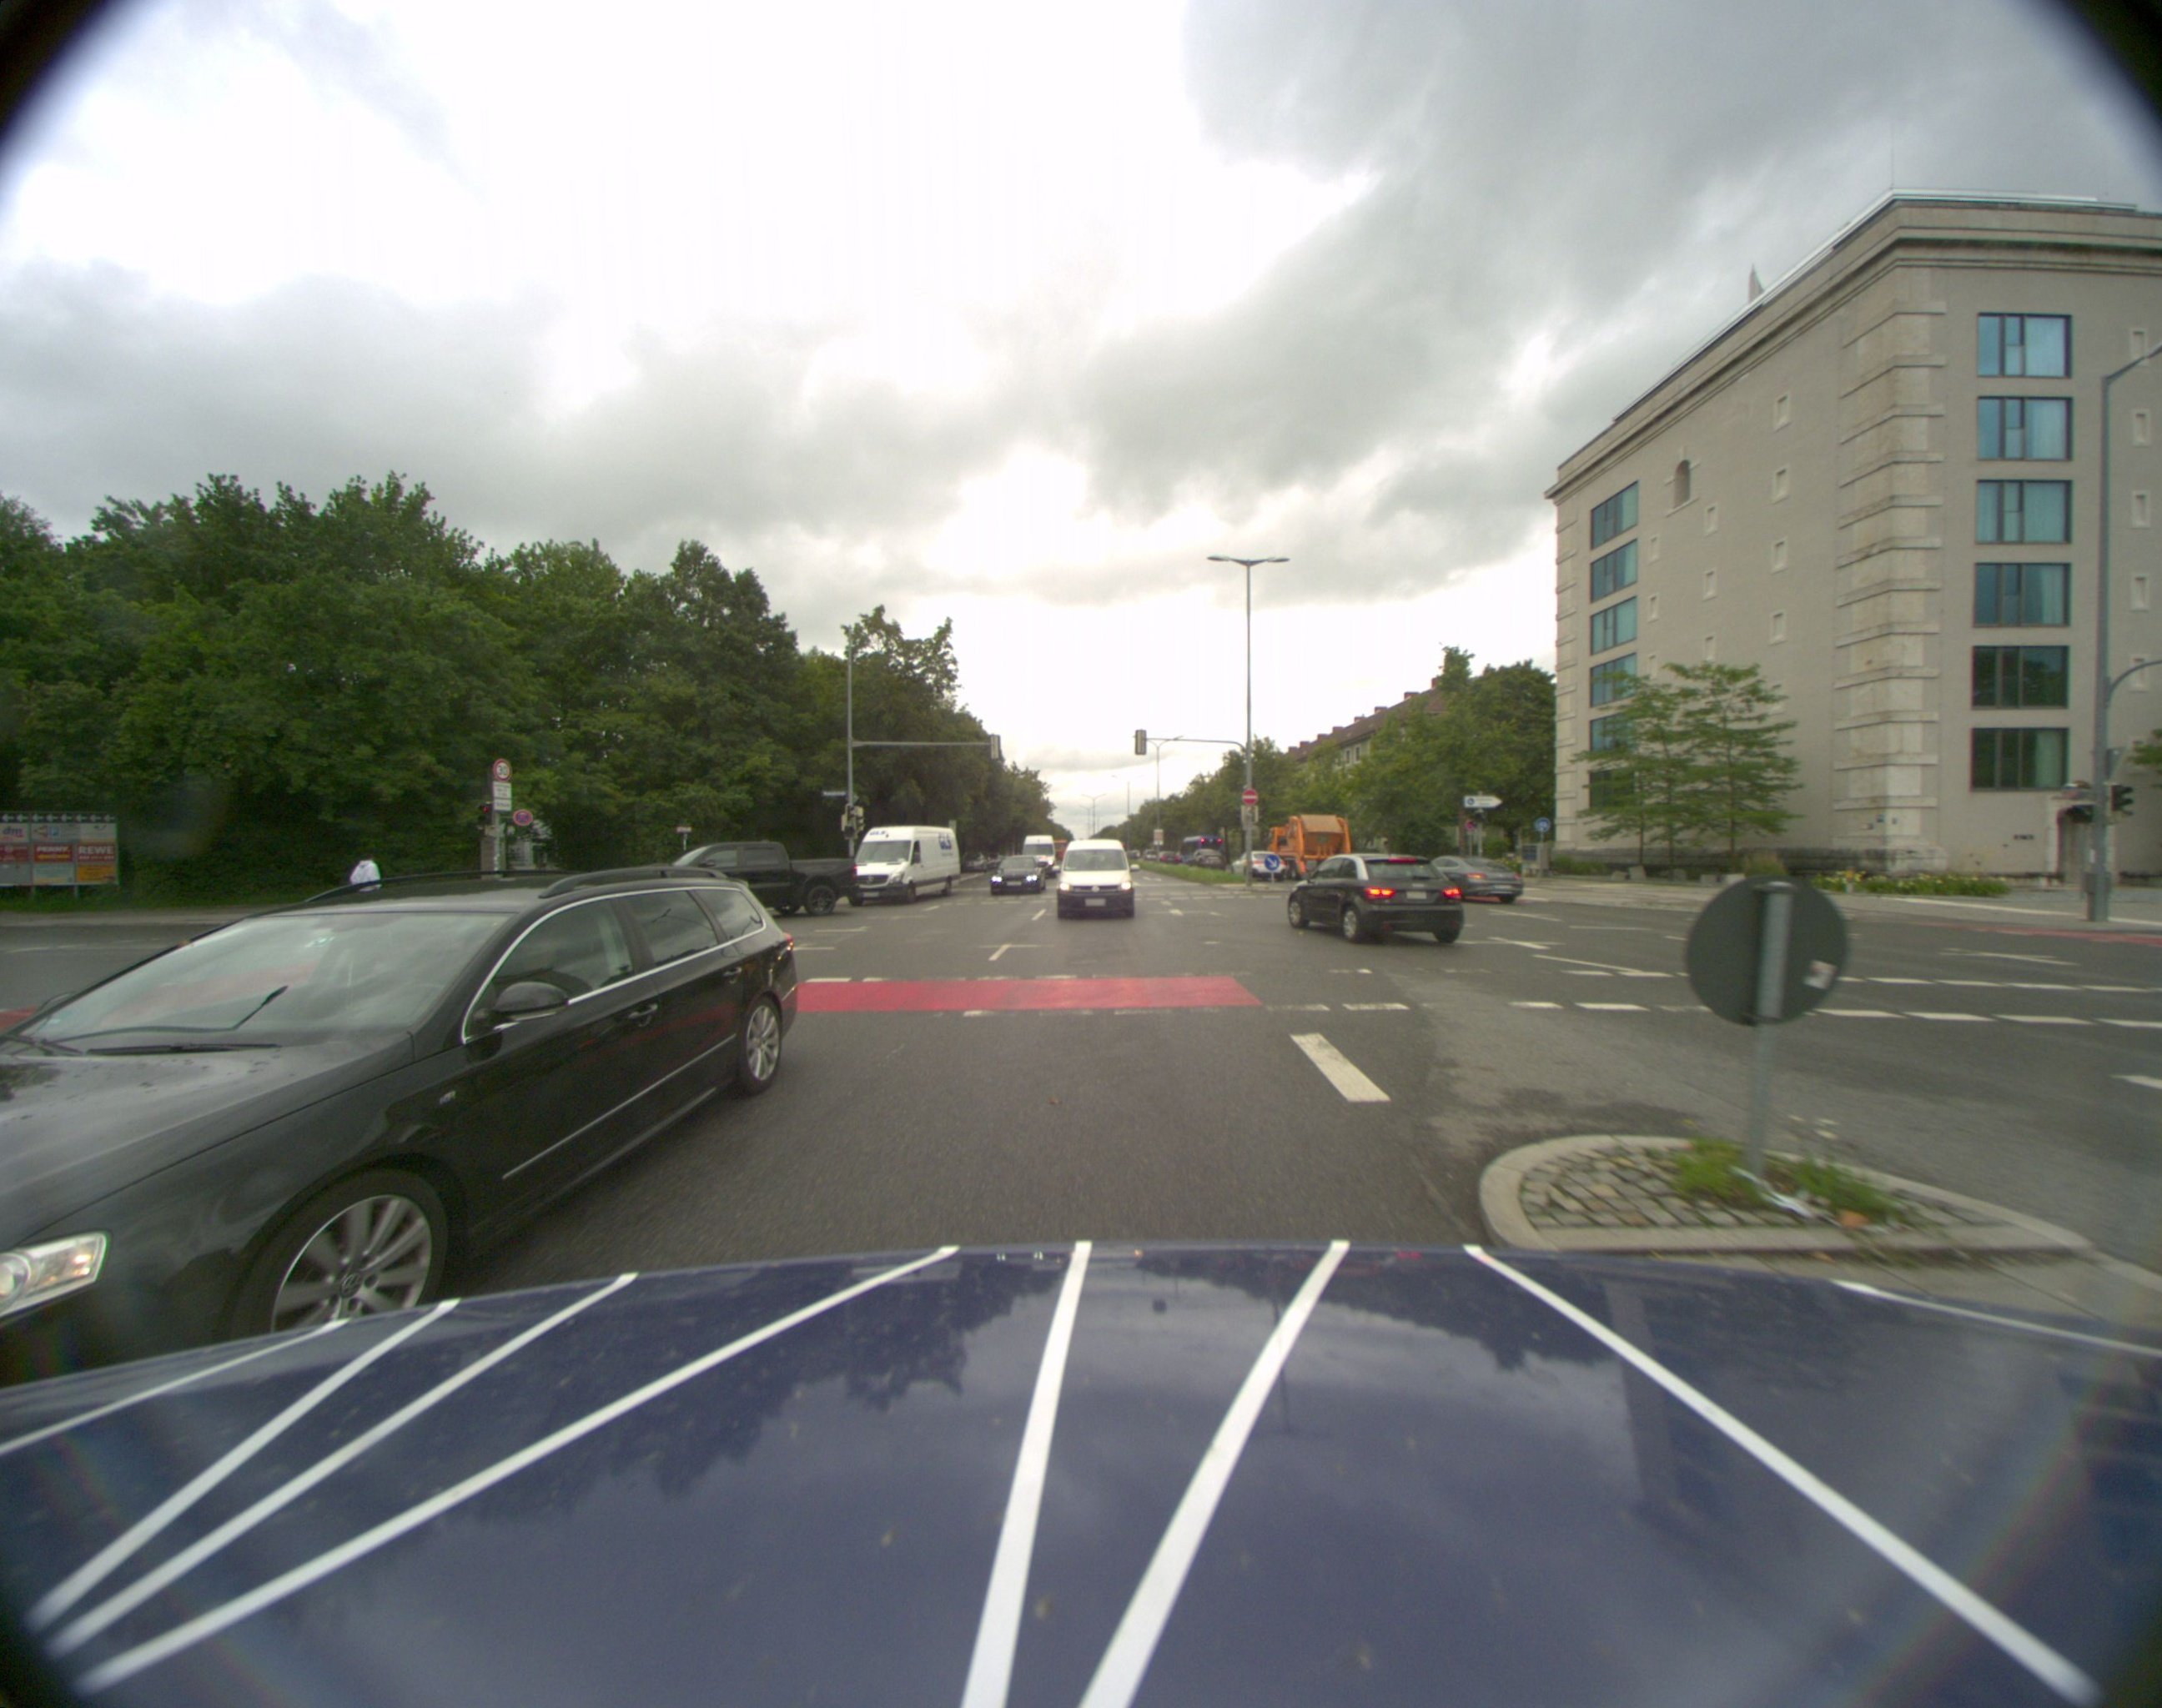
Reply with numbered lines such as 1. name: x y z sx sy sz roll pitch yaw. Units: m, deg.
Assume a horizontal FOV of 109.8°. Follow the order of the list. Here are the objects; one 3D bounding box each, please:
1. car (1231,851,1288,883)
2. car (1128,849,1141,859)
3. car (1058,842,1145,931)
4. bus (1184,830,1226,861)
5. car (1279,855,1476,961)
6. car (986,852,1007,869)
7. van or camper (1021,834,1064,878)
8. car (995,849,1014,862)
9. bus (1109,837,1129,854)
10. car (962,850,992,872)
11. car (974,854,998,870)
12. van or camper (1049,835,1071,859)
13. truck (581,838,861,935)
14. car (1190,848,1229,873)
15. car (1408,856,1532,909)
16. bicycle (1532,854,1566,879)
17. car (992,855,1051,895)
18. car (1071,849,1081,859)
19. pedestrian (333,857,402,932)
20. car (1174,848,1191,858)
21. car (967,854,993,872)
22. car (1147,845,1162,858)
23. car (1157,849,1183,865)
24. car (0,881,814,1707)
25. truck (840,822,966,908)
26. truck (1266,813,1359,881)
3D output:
1. car: 8.847 0.612 38.048 1.732 1.478 4.742 0 1 0
2. car: 8.130 0.017 115.814 1.702 1.561 4.290 0 0 -1
3. car: 0.385 0.640 17.820 1.752 1.809 4.670 -1 1 -1
4. bus: 14.508 -0.972 89.918 2.752 3.324 12.047 1 0 -1
5. car: 4.813 0.788 12.923 1.644 1.478 3.779 0 1 -4
6. car: -8.686 0.613 78.450 1.752 1.640 4.254 -1 1 -1
7. van or camper: -2.296 0.093 47.272 2.183 2.546 7.074 0 0 1
8. car: -8.888 0.175 88.507 1.752 1.459 4.254 -1 0 -1
9. bus: 7.630 -1.651 154.340 2.753 3.324 12.268 1 0 -3
10. car: -8.358 0.547 61.575 1.884 1.640 4.396 -1 1 -1
11. car: -9.010 0.767 72.436 1.752 1.420 4.254 -1 0 -1
12. van or camper: -2.974 -0.992 107.558 2.780 3.219 7.074 0 0 1
13. truck: -8.560 0.644 18.635 2.099 2.002 5.824 0 1 42
14. car: 8.710 0.417 51.966 1.866 1.533 4.749 3 1 1
15. car: 11.825 0.808 23.436 1.727 1.408 4.215 1 1 2
16. bicycle: 23.071 0.605 37.475 0.546 1.174 1.826 -1 1 0
17. car: -2.236 0.757 29.591 1.819 1.421 4.671 0 0 1
18. car: -1.091 -0.041 159.455 1.998 2.002 4.000 0 0 1
19. pedestrian: -16.882 0.933 18.005 0.762 1.693 0.938 -1 1 -9
20. car: 14.528 -0.144 108.875 1.857 1.454 3.909 -2 0 1
21. car: -8.856 0.775 66.899 1.752 1.515 4.396 -1 0 -1
22. car: 11.361 -0.389 117.675 1.784 1.801 4.429 2 0 -1
23. car: 8.796 0.260 75.145 1.931 1.453 4.898 2 0 0
24. car: -2.865 0.971 3.342 1.752 1.466 4.670 -1 0 -1
25. truck: -5.919 0.295 26.569 1.998 2.589 7.229 -1 1 6
26. truck: 12.152 -0.370 40.635 2.787 3.337 7.265 0 1 0
